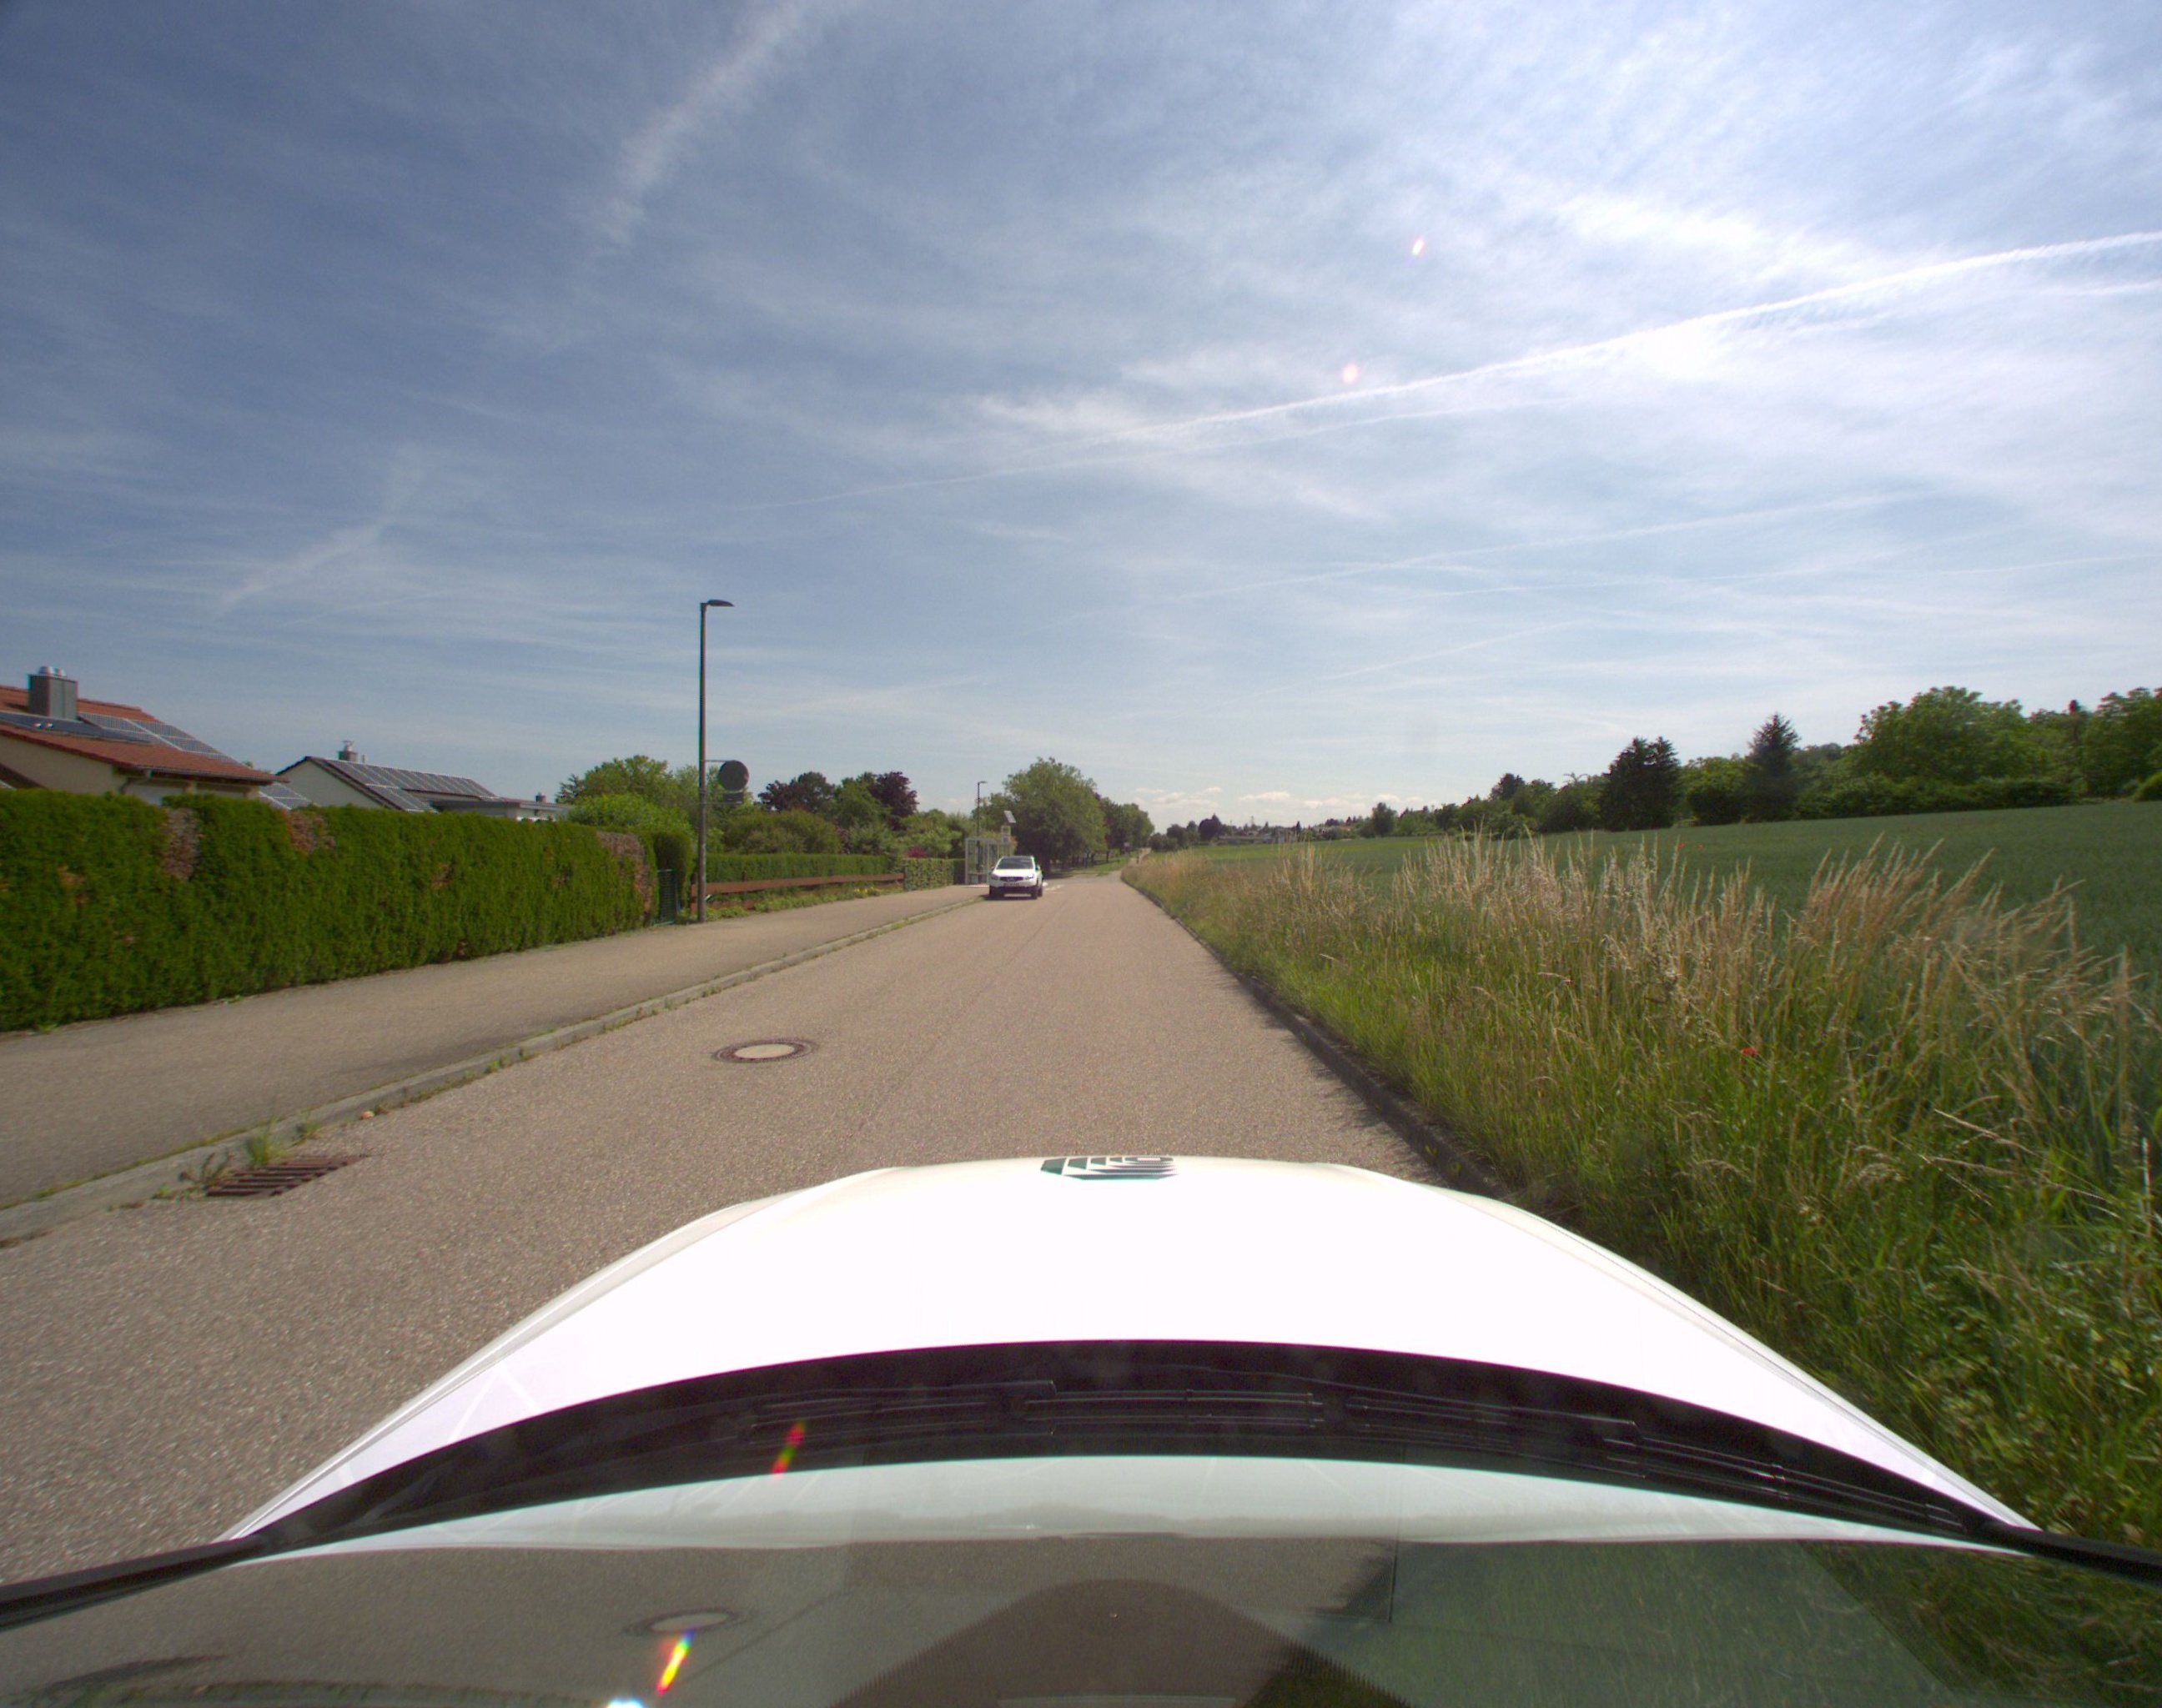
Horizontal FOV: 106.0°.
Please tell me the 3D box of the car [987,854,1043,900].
[{"bbox_3d":[-2.463,0.866,31.440,1.728,1.633,4.352,-1,-1,1],"label":"car"}]
